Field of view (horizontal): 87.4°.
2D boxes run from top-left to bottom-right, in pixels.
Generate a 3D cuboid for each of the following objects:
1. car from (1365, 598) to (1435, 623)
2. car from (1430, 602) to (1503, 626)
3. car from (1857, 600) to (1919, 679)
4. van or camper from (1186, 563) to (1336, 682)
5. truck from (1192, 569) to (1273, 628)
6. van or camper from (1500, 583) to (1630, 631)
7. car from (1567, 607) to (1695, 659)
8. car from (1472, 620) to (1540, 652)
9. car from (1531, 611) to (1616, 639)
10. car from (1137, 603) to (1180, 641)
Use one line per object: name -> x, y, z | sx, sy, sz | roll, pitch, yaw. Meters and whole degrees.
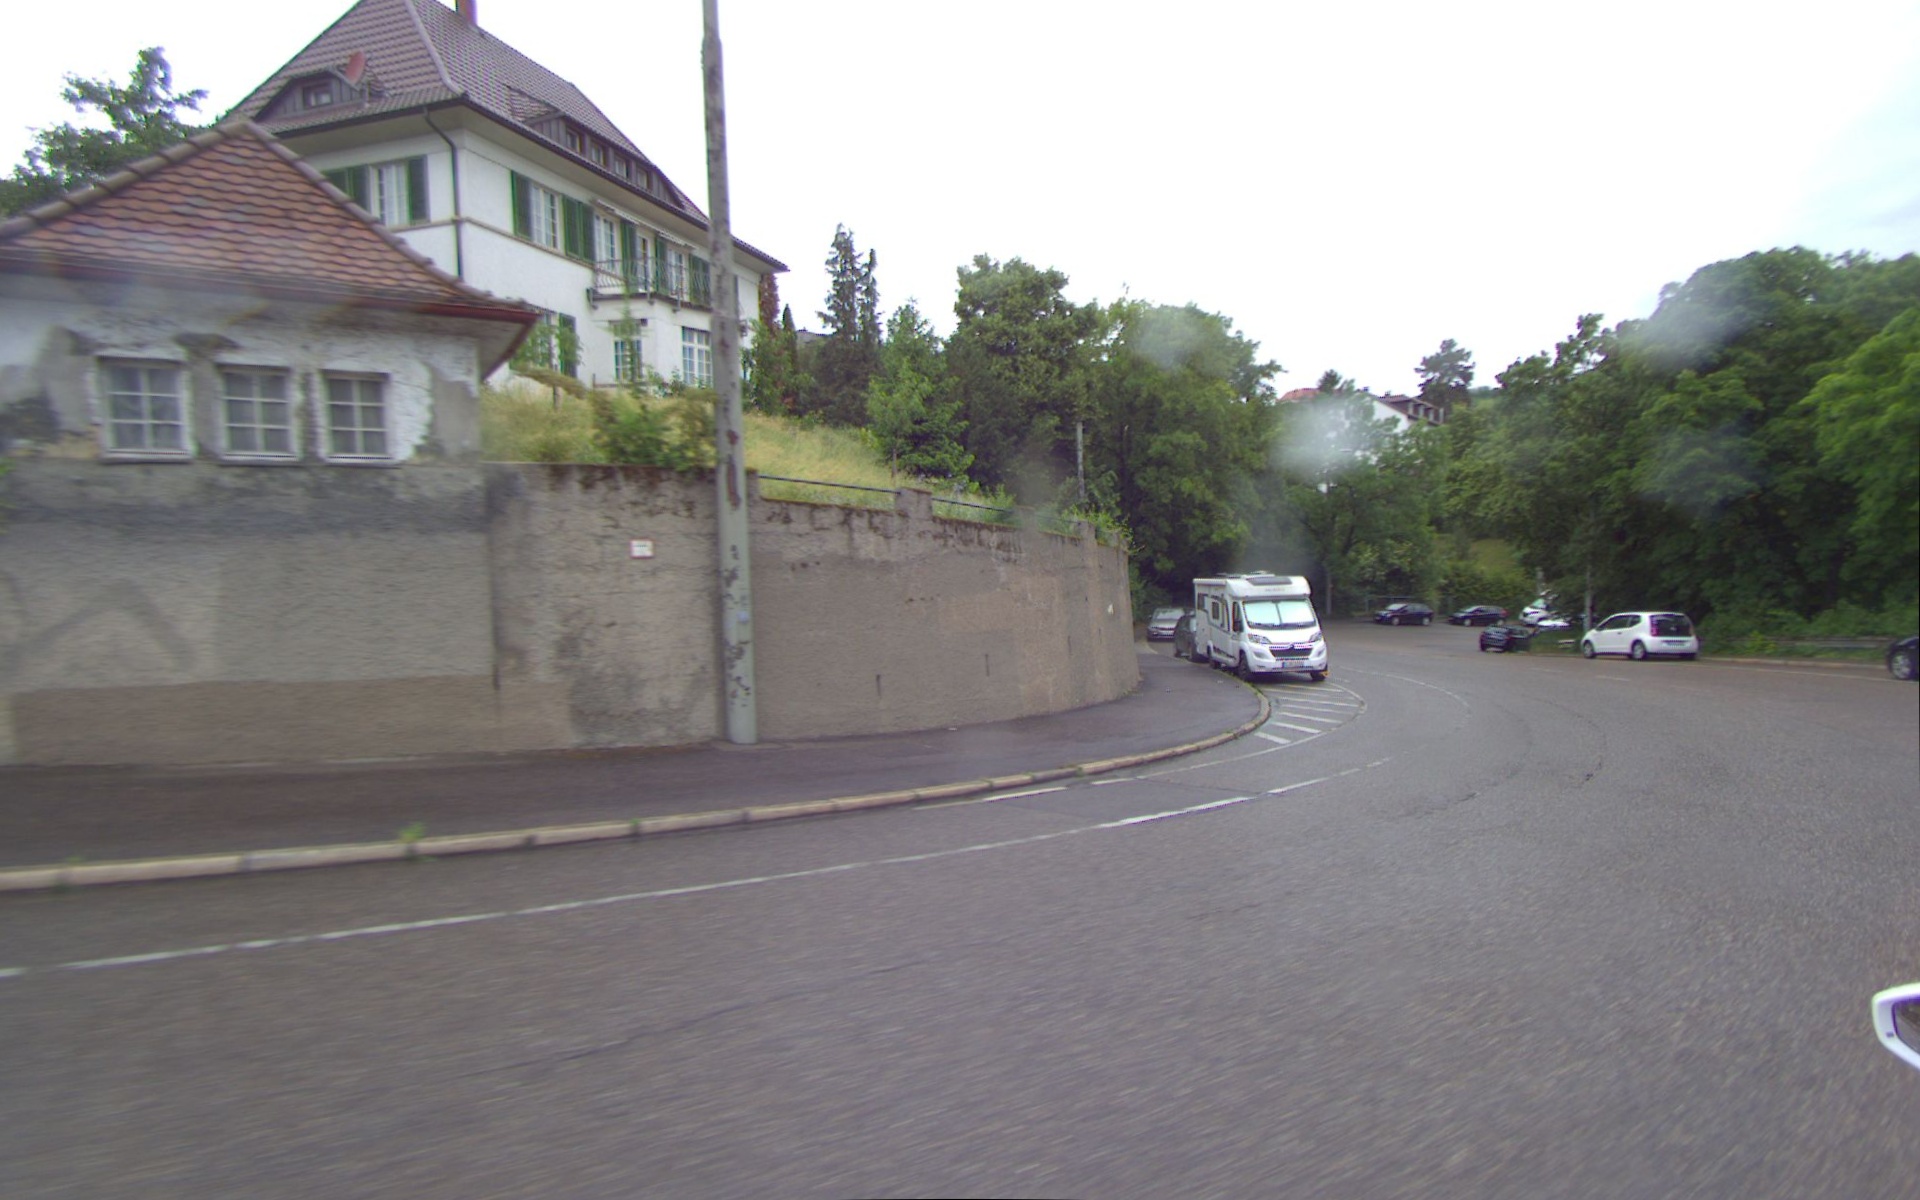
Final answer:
car -> 30.476, 0.733, 69.605 | 4.246, 1.485, 1.776 | 1, 5, -19
car -> 35.844, 0.987, 71.143 | 4.230, 1.375, 1.757 | 2, 5, -4
car -> 19.585, 0.761, 19.063 | 1.689, 1.533, 4.598 | -2, -1, 12
van or camper -> 8.079, 0.530, 27.866 | 2.119, 2.826, 7.051 | -2, 0, 1
truck -> 15.929, -0.098, 58.445 | 2.007, 3.145, 6.586 | 5, 3, 37
van or camper -> 42.831, 0.466, 71.285 | 7.506, 2.973, 2.201 | 2, 6, 6
car -> 20.994, 1.009, 31.598 | 1.559, 1.521, 3.667 | 1, -1, 0
car -> 29.301, 1.947, 53.893 | 3.996, 1.484, 1.636 | 2, 4, -38
car -> 40.259, 1.651, 66.021 | 4.365, 1.591, 1.805 | 2, 1, 8
car -> 9.058, 0.960, 45.667 | 1.670, 1.519, 4.531 | 1, 1, 14
